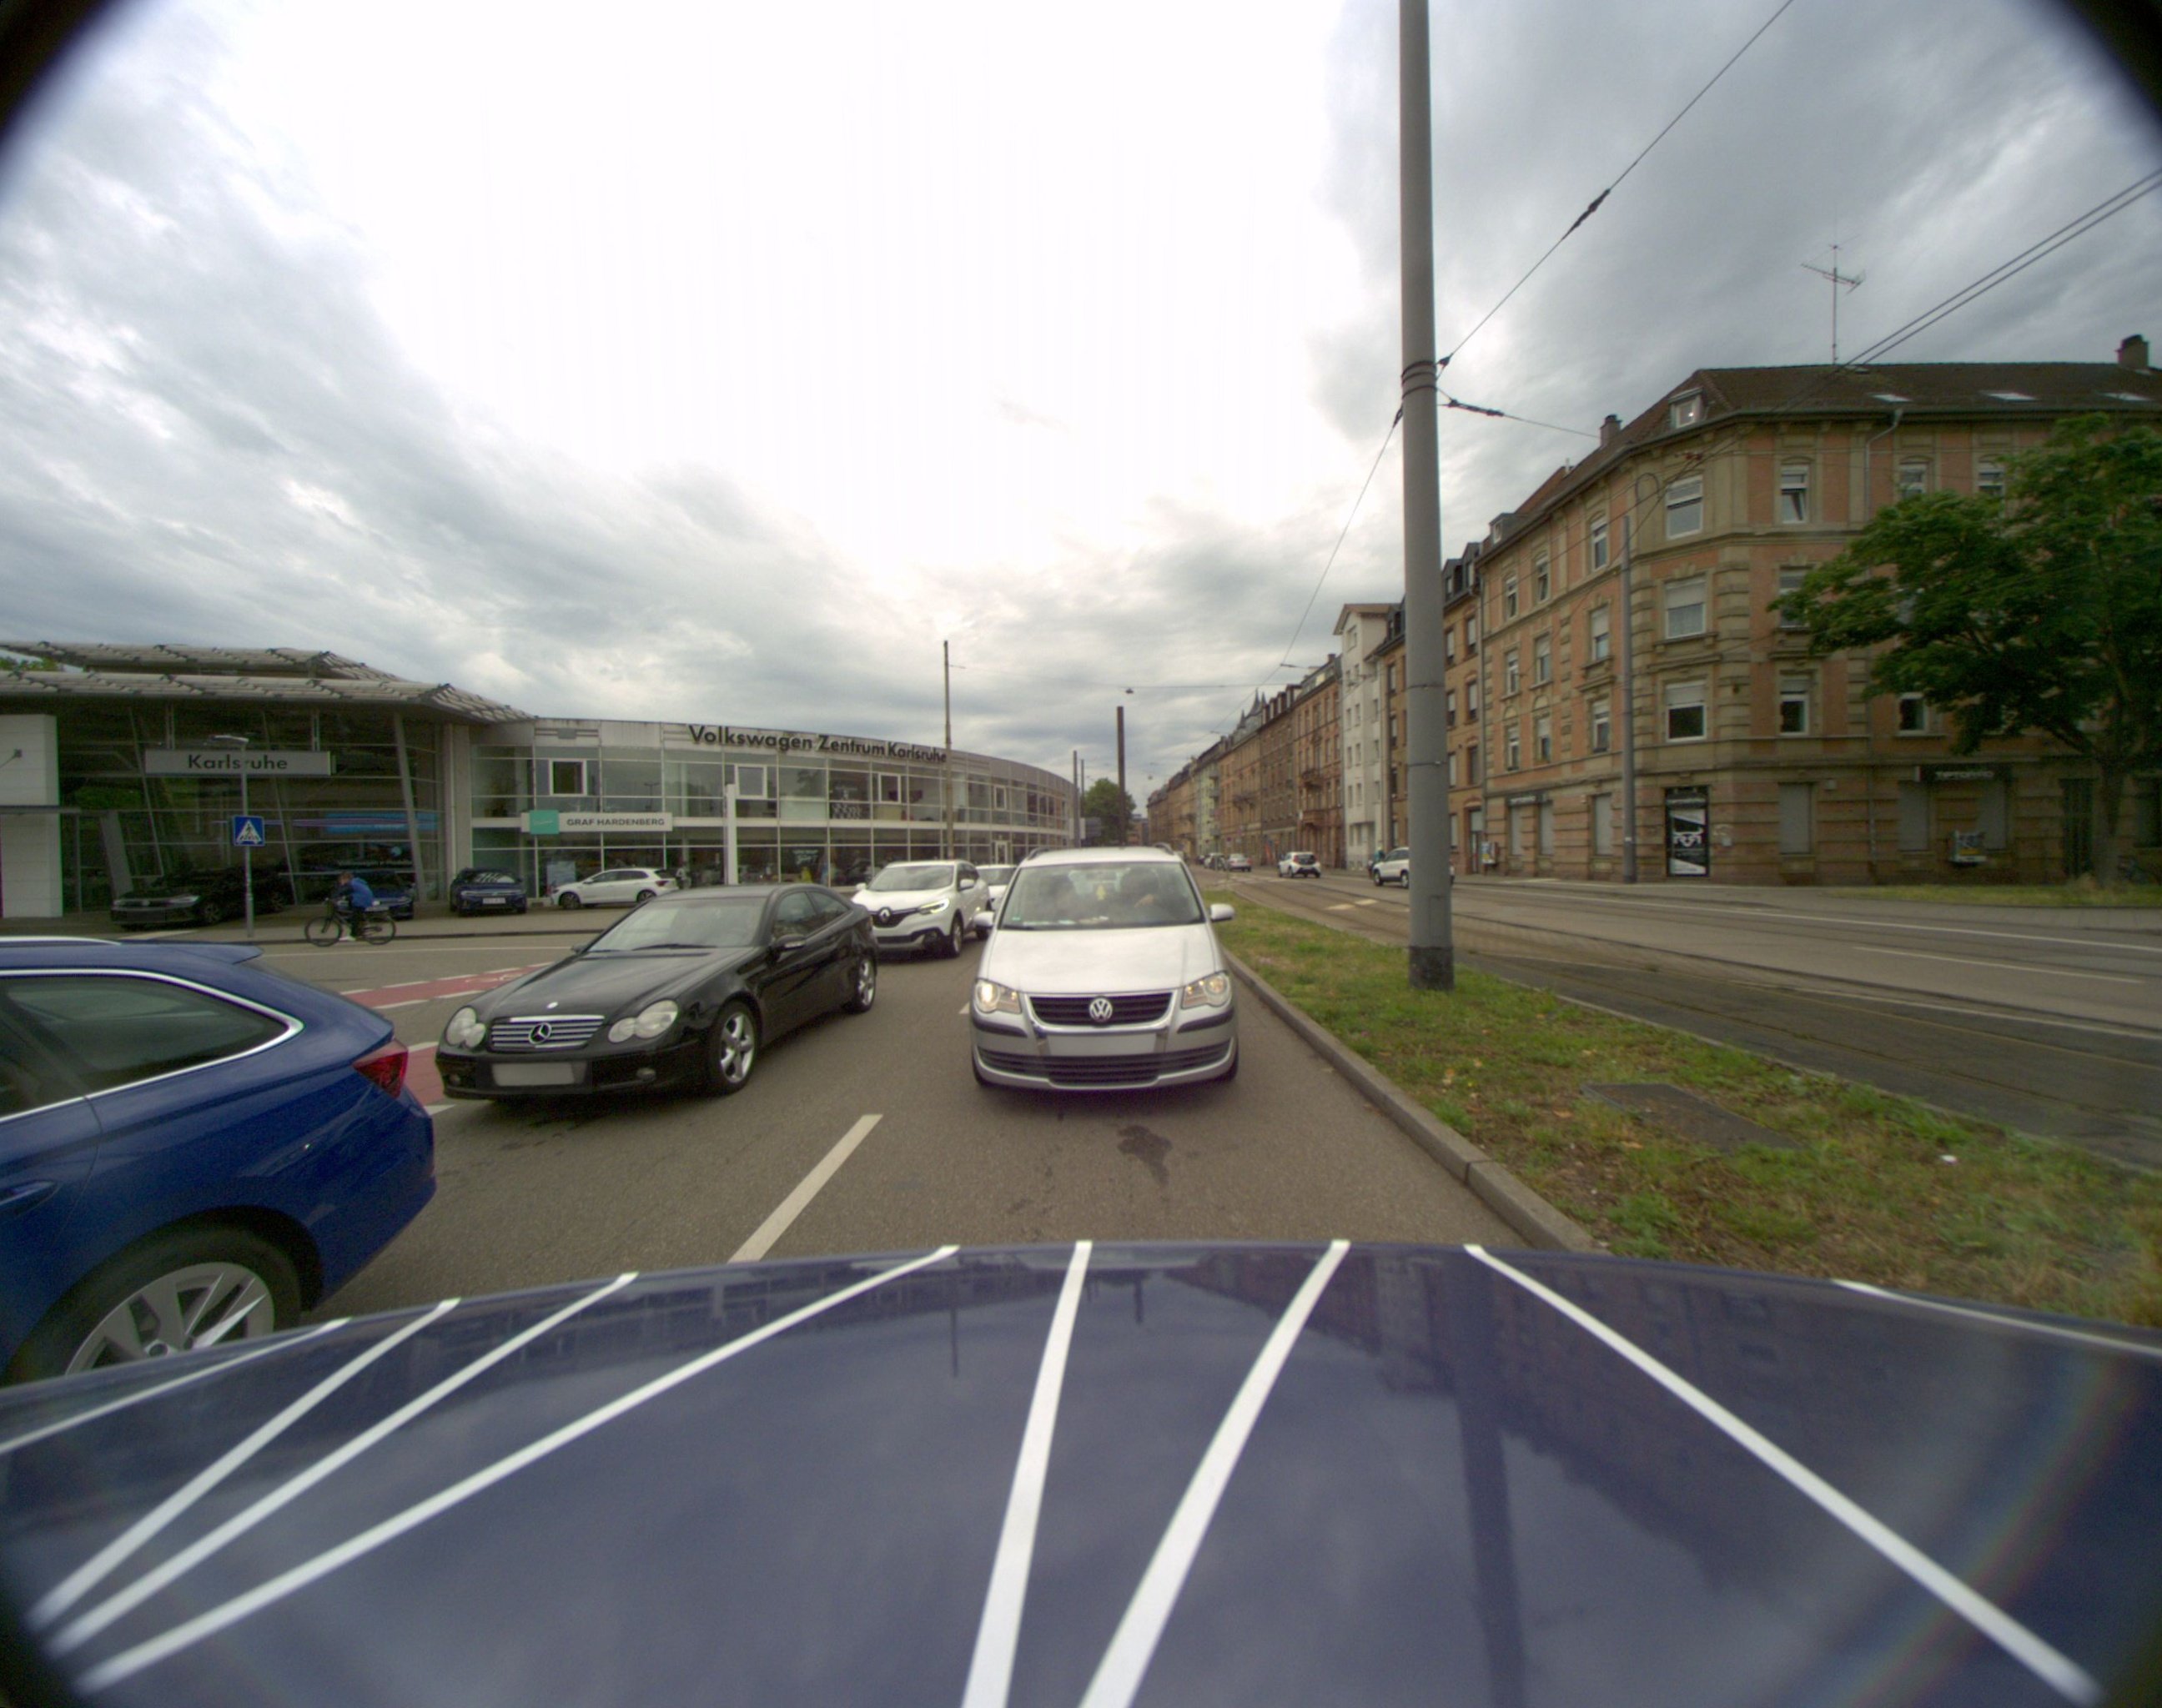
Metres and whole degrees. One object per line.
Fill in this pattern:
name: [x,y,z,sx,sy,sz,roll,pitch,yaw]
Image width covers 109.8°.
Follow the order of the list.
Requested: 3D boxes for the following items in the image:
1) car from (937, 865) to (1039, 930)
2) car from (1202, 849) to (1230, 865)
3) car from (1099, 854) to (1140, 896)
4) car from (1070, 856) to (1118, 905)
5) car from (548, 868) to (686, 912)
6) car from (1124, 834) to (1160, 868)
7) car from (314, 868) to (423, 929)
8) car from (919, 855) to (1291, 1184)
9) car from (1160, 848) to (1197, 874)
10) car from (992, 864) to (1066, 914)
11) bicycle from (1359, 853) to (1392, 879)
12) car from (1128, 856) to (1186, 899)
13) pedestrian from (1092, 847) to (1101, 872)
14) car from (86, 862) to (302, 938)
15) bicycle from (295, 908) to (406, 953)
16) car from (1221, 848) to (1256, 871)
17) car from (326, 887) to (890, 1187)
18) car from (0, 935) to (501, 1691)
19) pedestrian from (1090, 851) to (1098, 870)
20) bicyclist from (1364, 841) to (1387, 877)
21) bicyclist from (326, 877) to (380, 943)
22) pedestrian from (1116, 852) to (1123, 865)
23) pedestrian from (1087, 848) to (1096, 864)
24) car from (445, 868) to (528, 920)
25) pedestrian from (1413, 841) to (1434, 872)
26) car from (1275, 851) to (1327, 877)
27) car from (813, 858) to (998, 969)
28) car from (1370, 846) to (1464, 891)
car: [-2.306,1.051,19.871,1.907,1.428,3.973,-1,0,4]
car: [13.301,0.253,75.015,1.819,1.500,4.574,-1,0,-1]
car: [1.944,1.018,39.253,1.998,2.002,4.000,-1,0,1]
car: [0.581,1.123,34.163,1.998,2.002,4.000,-1,0,1]
car: [-16.890,1.277,27.852,3.907,1.433,1.731,-1,0,-9]
car: [3.735,-0.181,46.999,1.998,2.002,4.000,-1,0,1]
car: [-22.236,1.309,23.886,1.961,1.517,4.218,-1,2,-36]
car: [0.180,0.859,6.421,1.863,1.609,5.062,-2,0,1]
car: [7.119,0.476,56.000,2.372,1.744,5.130,-1,0,4]
car: [-1.610,1.080,25.099,1.907,1.428,3.973,-1,0,4]
bicycle: [15.506,0.622,40.050,0.798,1.285,2.411,-1,0,1]
car: [2.853,0.831,28.543,1.971,1.447,4.194,-1,0,5]
pedestrian: [1.223,0.444,58.234,0.652,1.904,0.602,-1,1,1]
car: [-26.488,1.278,22.994,1.959,1.634,4.664,-1,5,-17]
bicycle: [-16.893,1.766,17.611,1.790,0.906,0.561,-1,1,-13]
car: [12.686,0.424,61.471,1.896,1.693,4.232,-1,0,-1]
car: [-3.138,1.101,6.347,1.769,1.362,4.422,-2,0,2]
car: [-3.174,1.064,0.540,1.770,1.428,4.757,-2,0,1]
pedestrian: [1.163,0.572,67.608,0.663,1.671,0.650,-1,1,1]
bicyclist: [15.511,0.271,40.076,0.824,1.856,0.924,-1,1,1]
bicyclist: [-16.875,1.284,17.626,0.695,1.487,0.554,-1,1,-13]
pedestrian: [6.133,0.717,121.221,1.004,2.002,0.908,-1,1,1]
pedestrian: [1.331,0.235,98.986,1.177,2.002,1.032,-1,1,1]
car: [-20.041,1.273,25.544,1.795,1.552,4.023,-2,1,-44]
pedestrian: [19.114,0.133,42.412,0.812,1.666,0.798,-1,1,-3]
car: [12.855,0.548,44.690,1.815,1.423,4.017,-1,0,-1]
car: [-2.804,0.884,13.189,1.982,1.550,4.146,-1,0,4]
car: [13.335,0.528,30.444,1.835,1.635,4.230,-1,0,-1]
